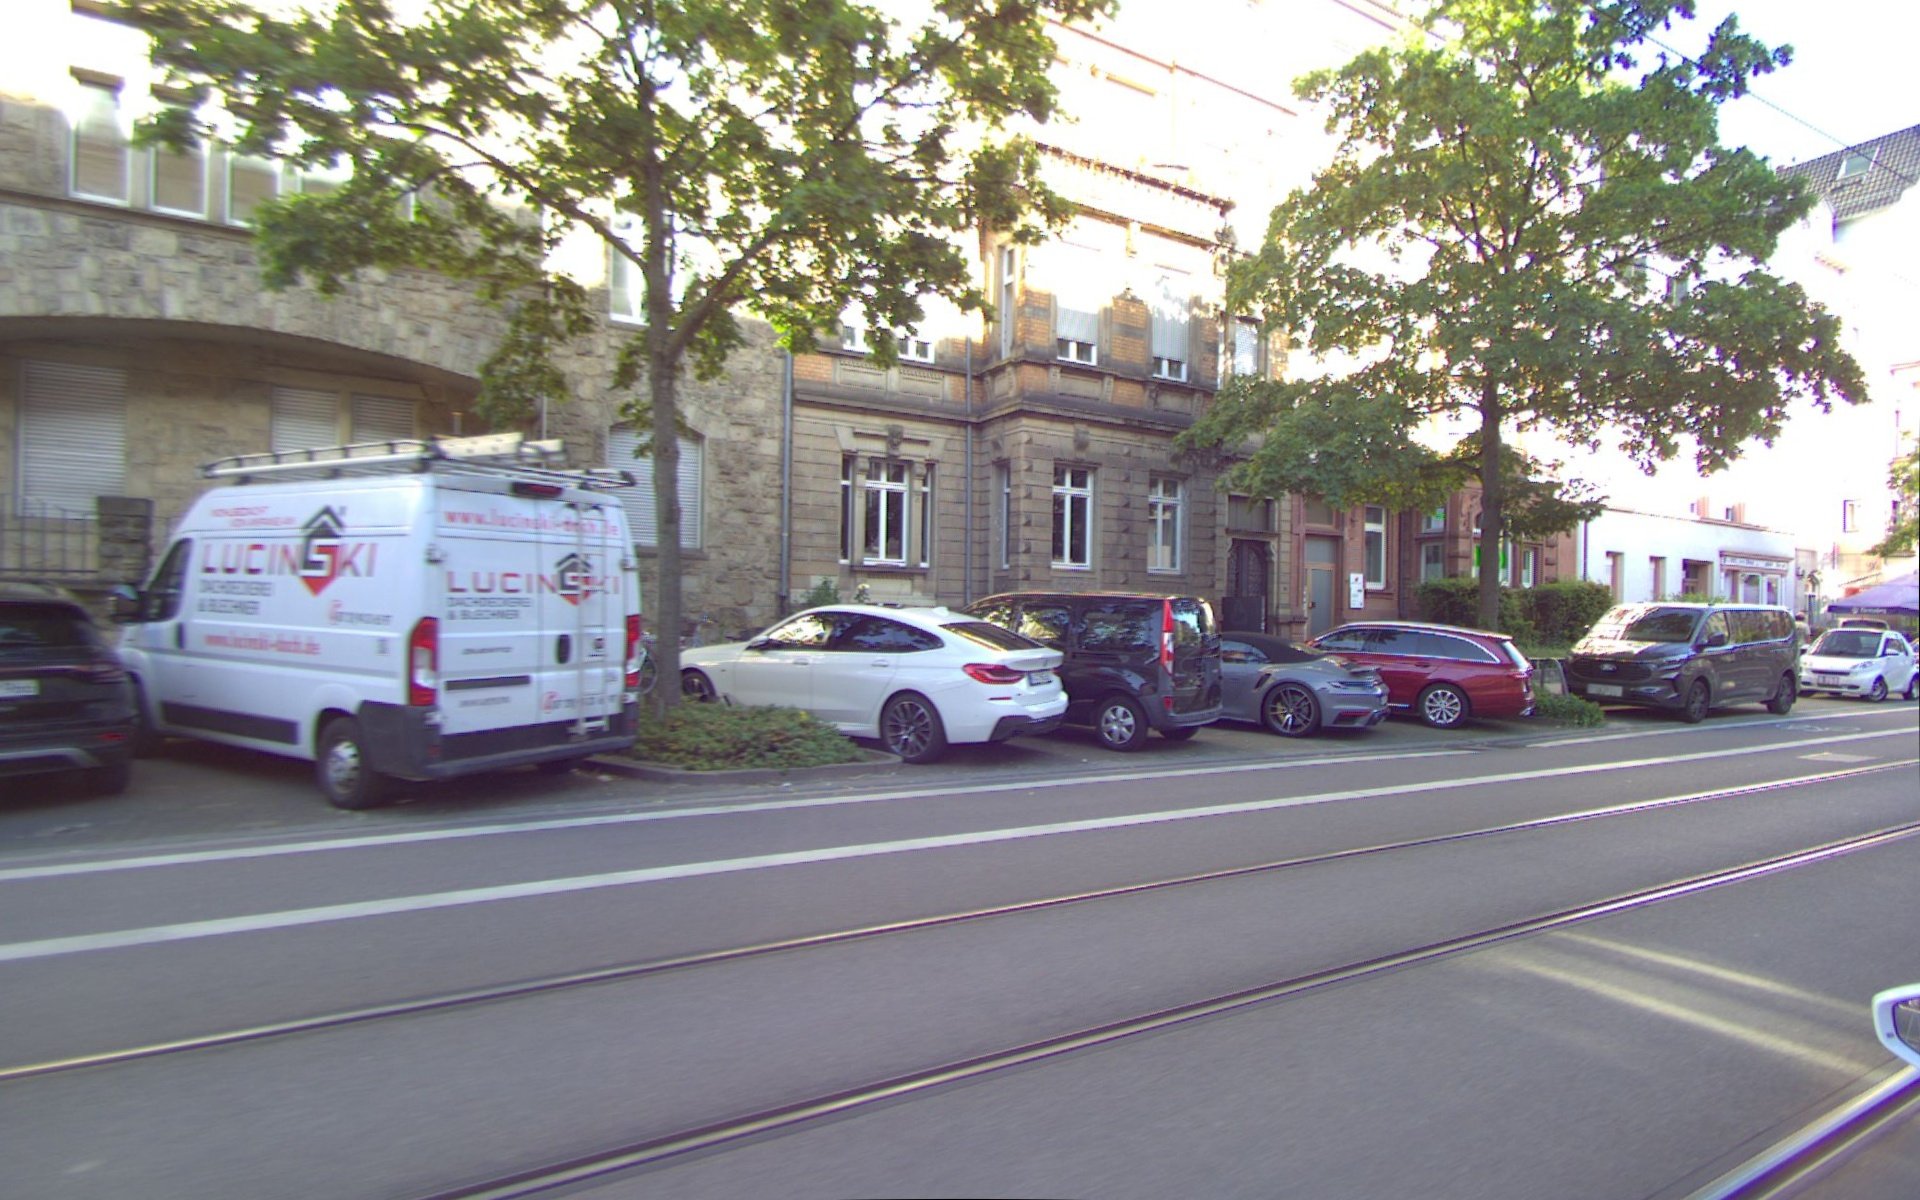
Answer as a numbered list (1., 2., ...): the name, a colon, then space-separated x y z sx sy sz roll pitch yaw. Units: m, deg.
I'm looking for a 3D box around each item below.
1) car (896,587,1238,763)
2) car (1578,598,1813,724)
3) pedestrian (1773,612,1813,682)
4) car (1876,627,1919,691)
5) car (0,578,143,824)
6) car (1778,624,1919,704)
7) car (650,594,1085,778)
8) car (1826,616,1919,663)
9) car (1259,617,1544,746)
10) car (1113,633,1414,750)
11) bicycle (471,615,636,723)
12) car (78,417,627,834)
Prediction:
1. car: 1.275 0.814 12.670 3.933 1.841 1.707 2 0 35
2. car: 13.368 1.040 18.151 5.186 2.000 1.737 2 0 -34
3. pedestrian: 22.609 1.261 27.273 0.652 1.848 0.622 2 0 -30
4. car: 24.741 1.482 25.183 4.000 1.506 1.736 2 0 -34
5. car: -8.054 0.632 7.728 3.933 1.639 1.707 2 0 35
6. car: 20.726 1.429 23.102 4.365 1.639 1.737 2 0 -34
7. car: -1.114 0.822 11.328 4.683 1.639 1.710 2 0 28
8. car: 31.332 1.345 34.277 3.486 1.488 1.626 2 0 -30
9. car: 6.768 1.148 15.548 3.678 1.644 1.781 1 0 39
10. car: 4.184 1.188 14.067 3.746 1.282 1.512 2 0 35
11. bicycle: -4.588 0.770 11.395 1.677 1.151 0.385 2 0 -31
12. car: -5.509 0.126 8.844 5.292 2.785 1.802 2 0 31
